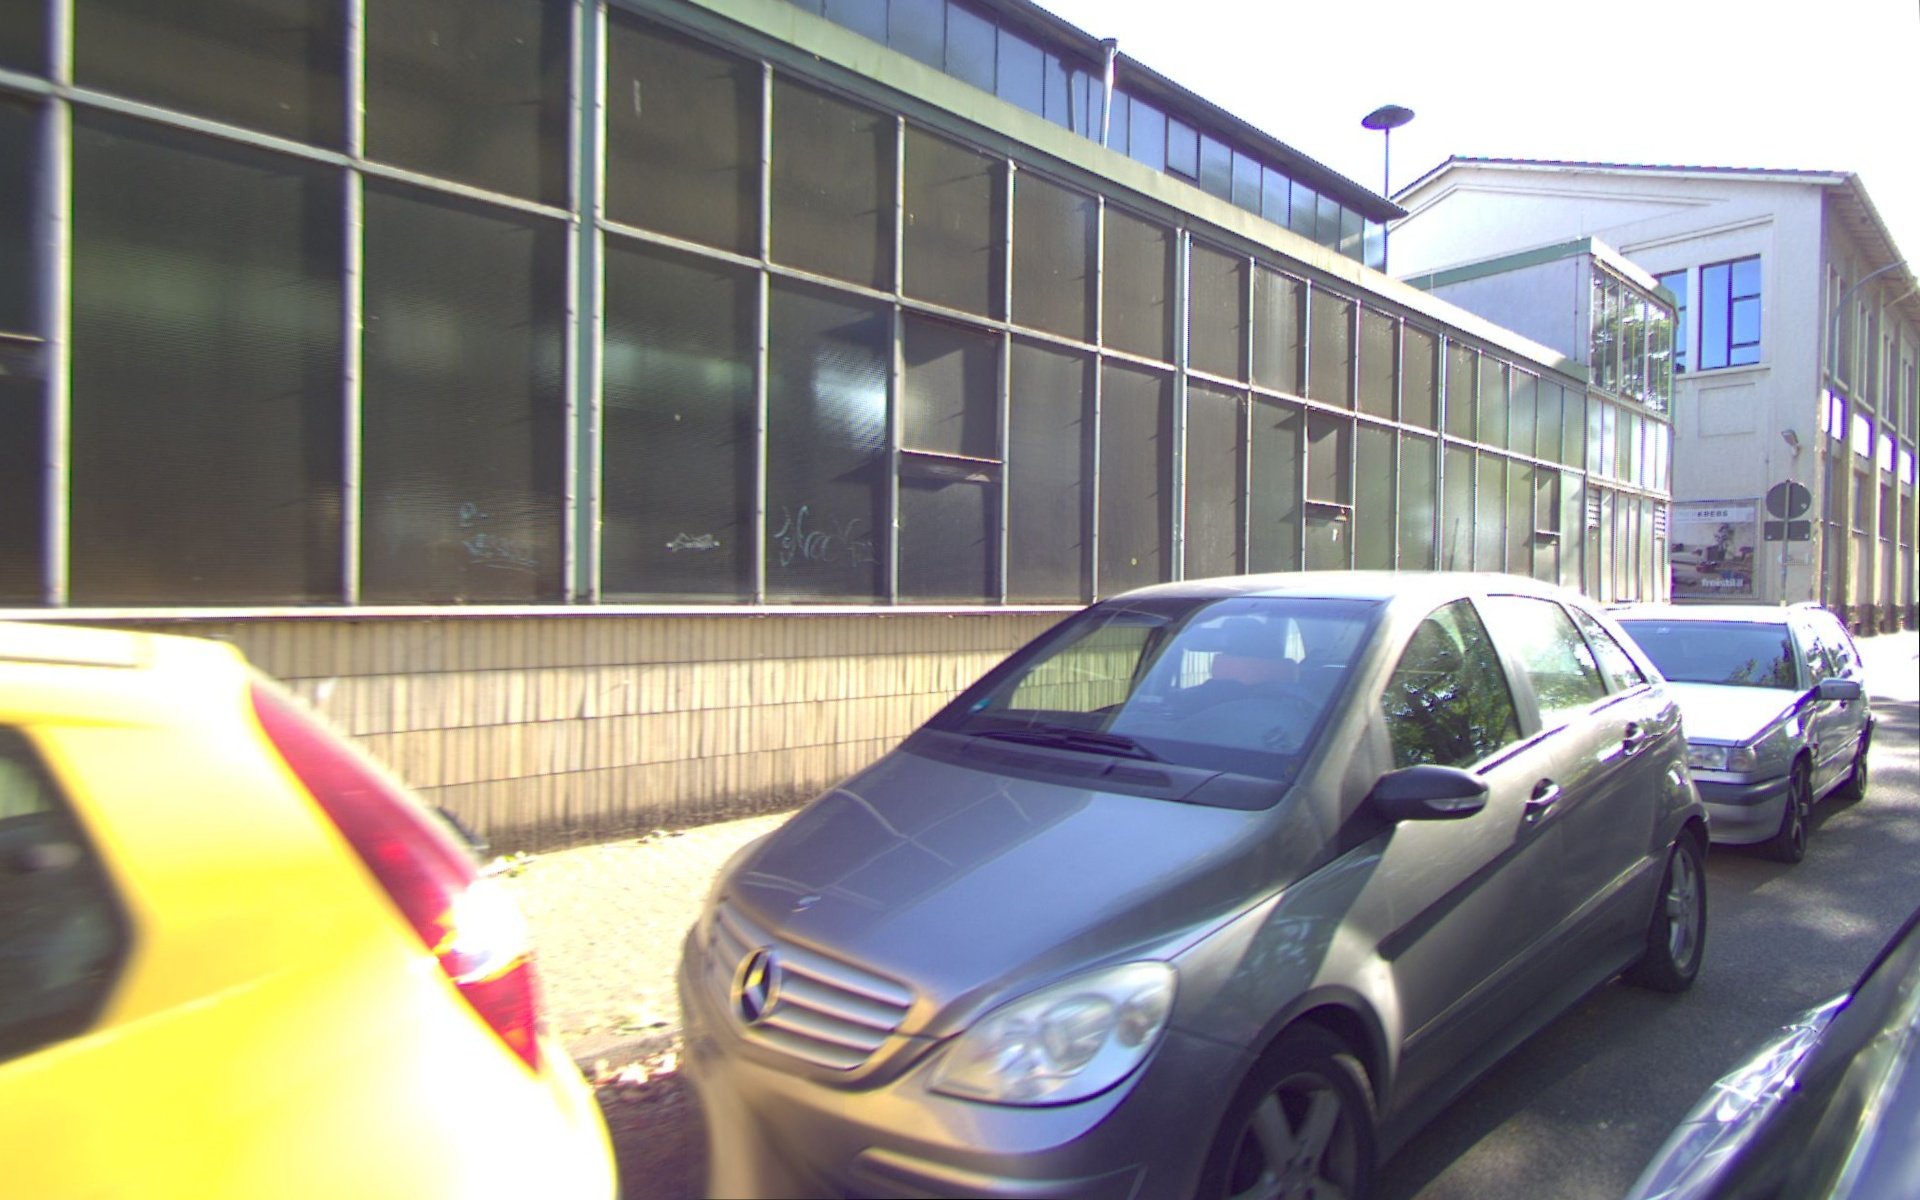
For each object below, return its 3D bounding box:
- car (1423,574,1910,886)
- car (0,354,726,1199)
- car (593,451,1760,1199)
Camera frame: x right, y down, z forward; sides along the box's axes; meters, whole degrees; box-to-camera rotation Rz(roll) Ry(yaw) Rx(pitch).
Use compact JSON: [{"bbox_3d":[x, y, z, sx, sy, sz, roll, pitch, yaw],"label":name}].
[{"bbox_3d":[5.176,0.602,7.138,4.453,1.512,1.902,-1,0,-43],"label":"car"},{"bbox_3d":[-2.353,0.631,0.716,3.934,1.655,1.752,-1,0,-43],"label":"car"},{"bbox_3d":[1.158,0.582,3.514,4.234,1.655,1.753,-1,0,-41],"label":"car"}]
